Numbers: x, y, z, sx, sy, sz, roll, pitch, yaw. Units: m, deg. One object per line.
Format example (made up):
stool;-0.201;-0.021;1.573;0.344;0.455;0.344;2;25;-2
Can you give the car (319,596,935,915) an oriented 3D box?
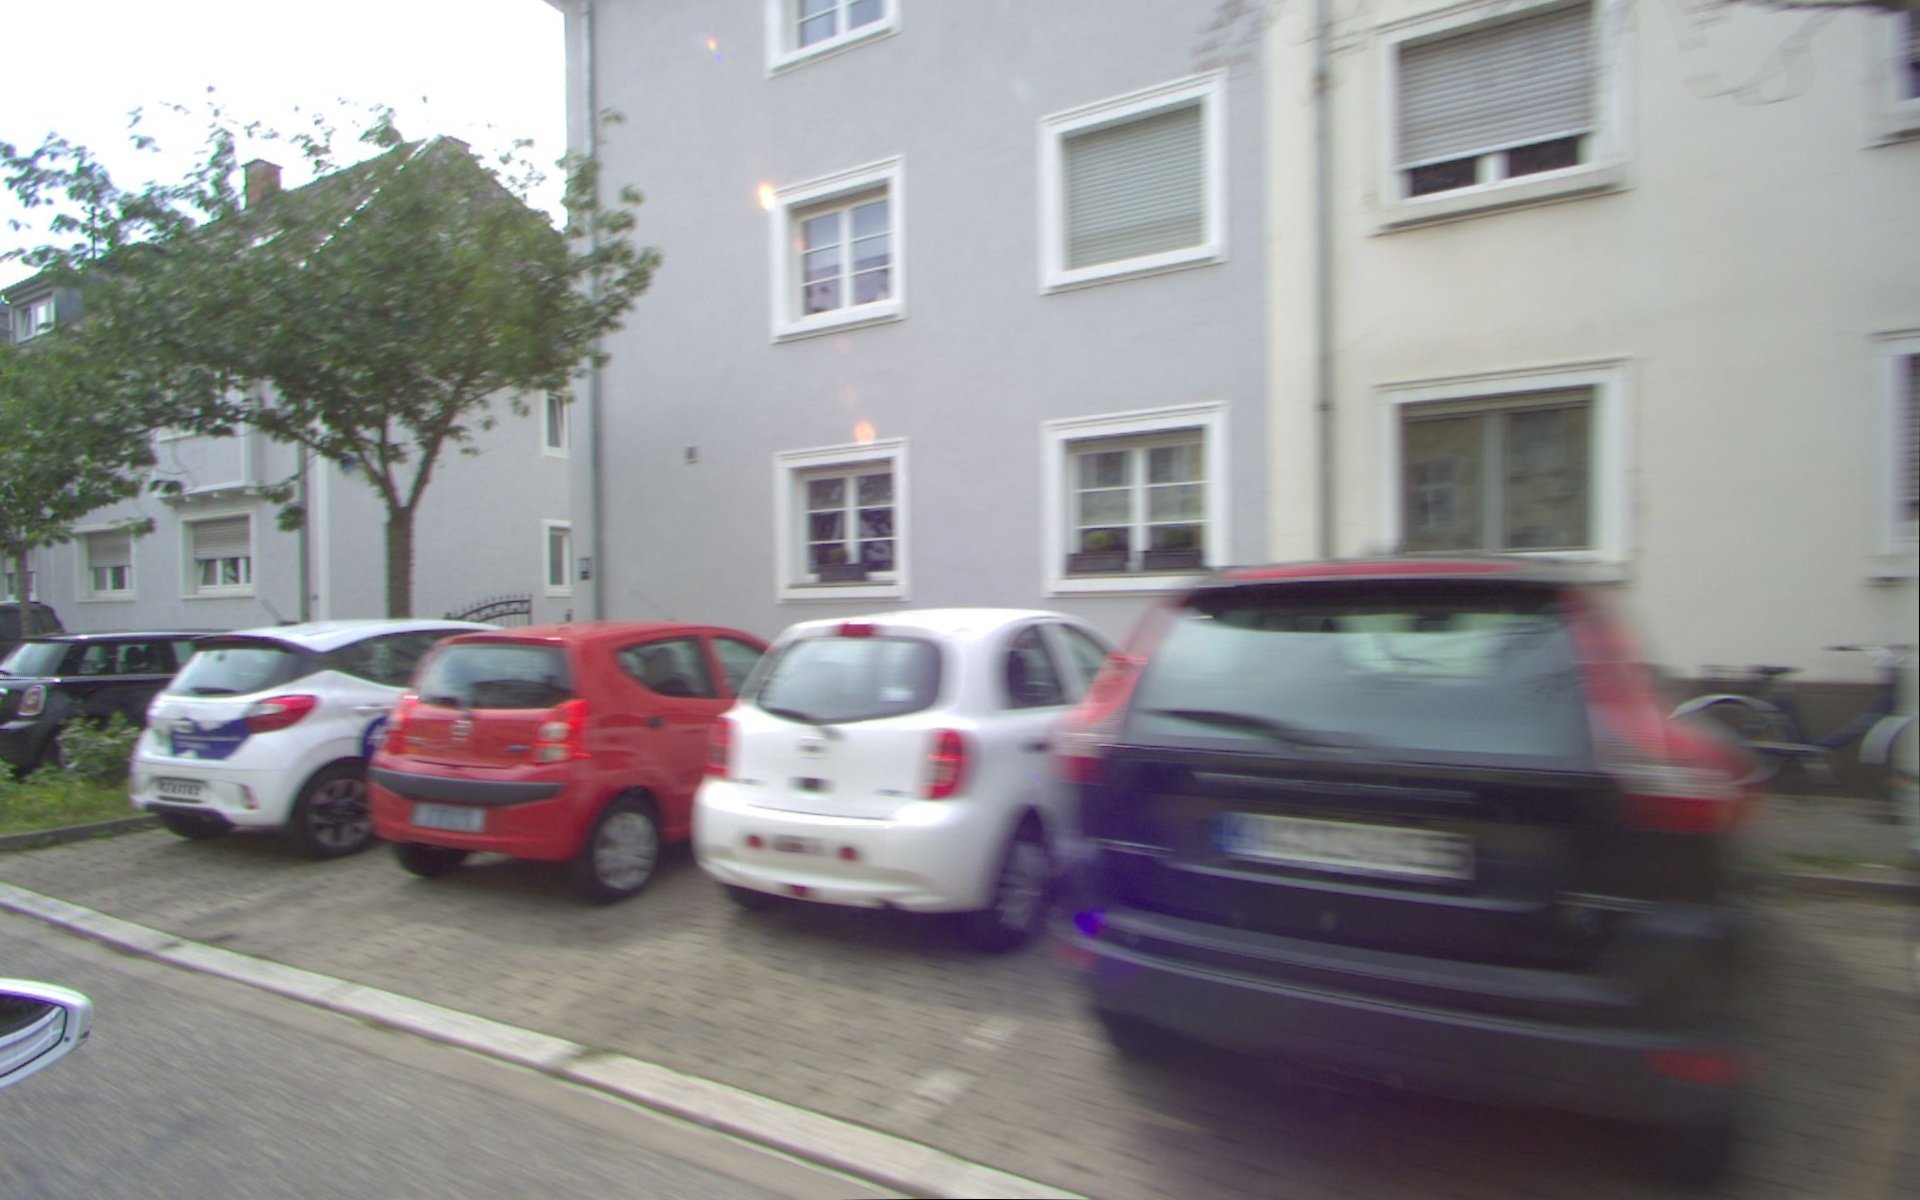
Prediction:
car;-1.877;0.755;6.961;1.740;1.429;3.984;-1;1;26

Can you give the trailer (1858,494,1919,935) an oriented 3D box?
trailer;4.432;0.485;3.545;1.381;1.856;2.953;-1;2;32

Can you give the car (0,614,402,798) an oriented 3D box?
car;-8.252;0.965;10.725;1.781;1.472;3.538;-1;1;28

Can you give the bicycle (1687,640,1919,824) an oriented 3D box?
bicycle;6.077;0.843;6.629;1.976;1.112;0.685;-1;2;31

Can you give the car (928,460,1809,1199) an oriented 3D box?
car;1.811;0.583;4.100;1.876;1.759;4.205;-1;1;31

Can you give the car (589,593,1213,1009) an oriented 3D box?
car;0.029;0.751;5.791;1.837;1.461;3.741;-1;1;30

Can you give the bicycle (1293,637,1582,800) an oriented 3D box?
bicycle;3.728;0.871;7.900;1.976;1.112;0.685;-1;2;31

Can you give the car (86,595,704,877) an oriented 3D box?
car;-4.079;0.804;8.010;1.740;1.551;3.984;-1;1;26

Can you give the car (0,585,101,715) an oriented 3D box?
car;-15.363;0.794;14.153;1.767;1.883;4.515;-1;1;31
